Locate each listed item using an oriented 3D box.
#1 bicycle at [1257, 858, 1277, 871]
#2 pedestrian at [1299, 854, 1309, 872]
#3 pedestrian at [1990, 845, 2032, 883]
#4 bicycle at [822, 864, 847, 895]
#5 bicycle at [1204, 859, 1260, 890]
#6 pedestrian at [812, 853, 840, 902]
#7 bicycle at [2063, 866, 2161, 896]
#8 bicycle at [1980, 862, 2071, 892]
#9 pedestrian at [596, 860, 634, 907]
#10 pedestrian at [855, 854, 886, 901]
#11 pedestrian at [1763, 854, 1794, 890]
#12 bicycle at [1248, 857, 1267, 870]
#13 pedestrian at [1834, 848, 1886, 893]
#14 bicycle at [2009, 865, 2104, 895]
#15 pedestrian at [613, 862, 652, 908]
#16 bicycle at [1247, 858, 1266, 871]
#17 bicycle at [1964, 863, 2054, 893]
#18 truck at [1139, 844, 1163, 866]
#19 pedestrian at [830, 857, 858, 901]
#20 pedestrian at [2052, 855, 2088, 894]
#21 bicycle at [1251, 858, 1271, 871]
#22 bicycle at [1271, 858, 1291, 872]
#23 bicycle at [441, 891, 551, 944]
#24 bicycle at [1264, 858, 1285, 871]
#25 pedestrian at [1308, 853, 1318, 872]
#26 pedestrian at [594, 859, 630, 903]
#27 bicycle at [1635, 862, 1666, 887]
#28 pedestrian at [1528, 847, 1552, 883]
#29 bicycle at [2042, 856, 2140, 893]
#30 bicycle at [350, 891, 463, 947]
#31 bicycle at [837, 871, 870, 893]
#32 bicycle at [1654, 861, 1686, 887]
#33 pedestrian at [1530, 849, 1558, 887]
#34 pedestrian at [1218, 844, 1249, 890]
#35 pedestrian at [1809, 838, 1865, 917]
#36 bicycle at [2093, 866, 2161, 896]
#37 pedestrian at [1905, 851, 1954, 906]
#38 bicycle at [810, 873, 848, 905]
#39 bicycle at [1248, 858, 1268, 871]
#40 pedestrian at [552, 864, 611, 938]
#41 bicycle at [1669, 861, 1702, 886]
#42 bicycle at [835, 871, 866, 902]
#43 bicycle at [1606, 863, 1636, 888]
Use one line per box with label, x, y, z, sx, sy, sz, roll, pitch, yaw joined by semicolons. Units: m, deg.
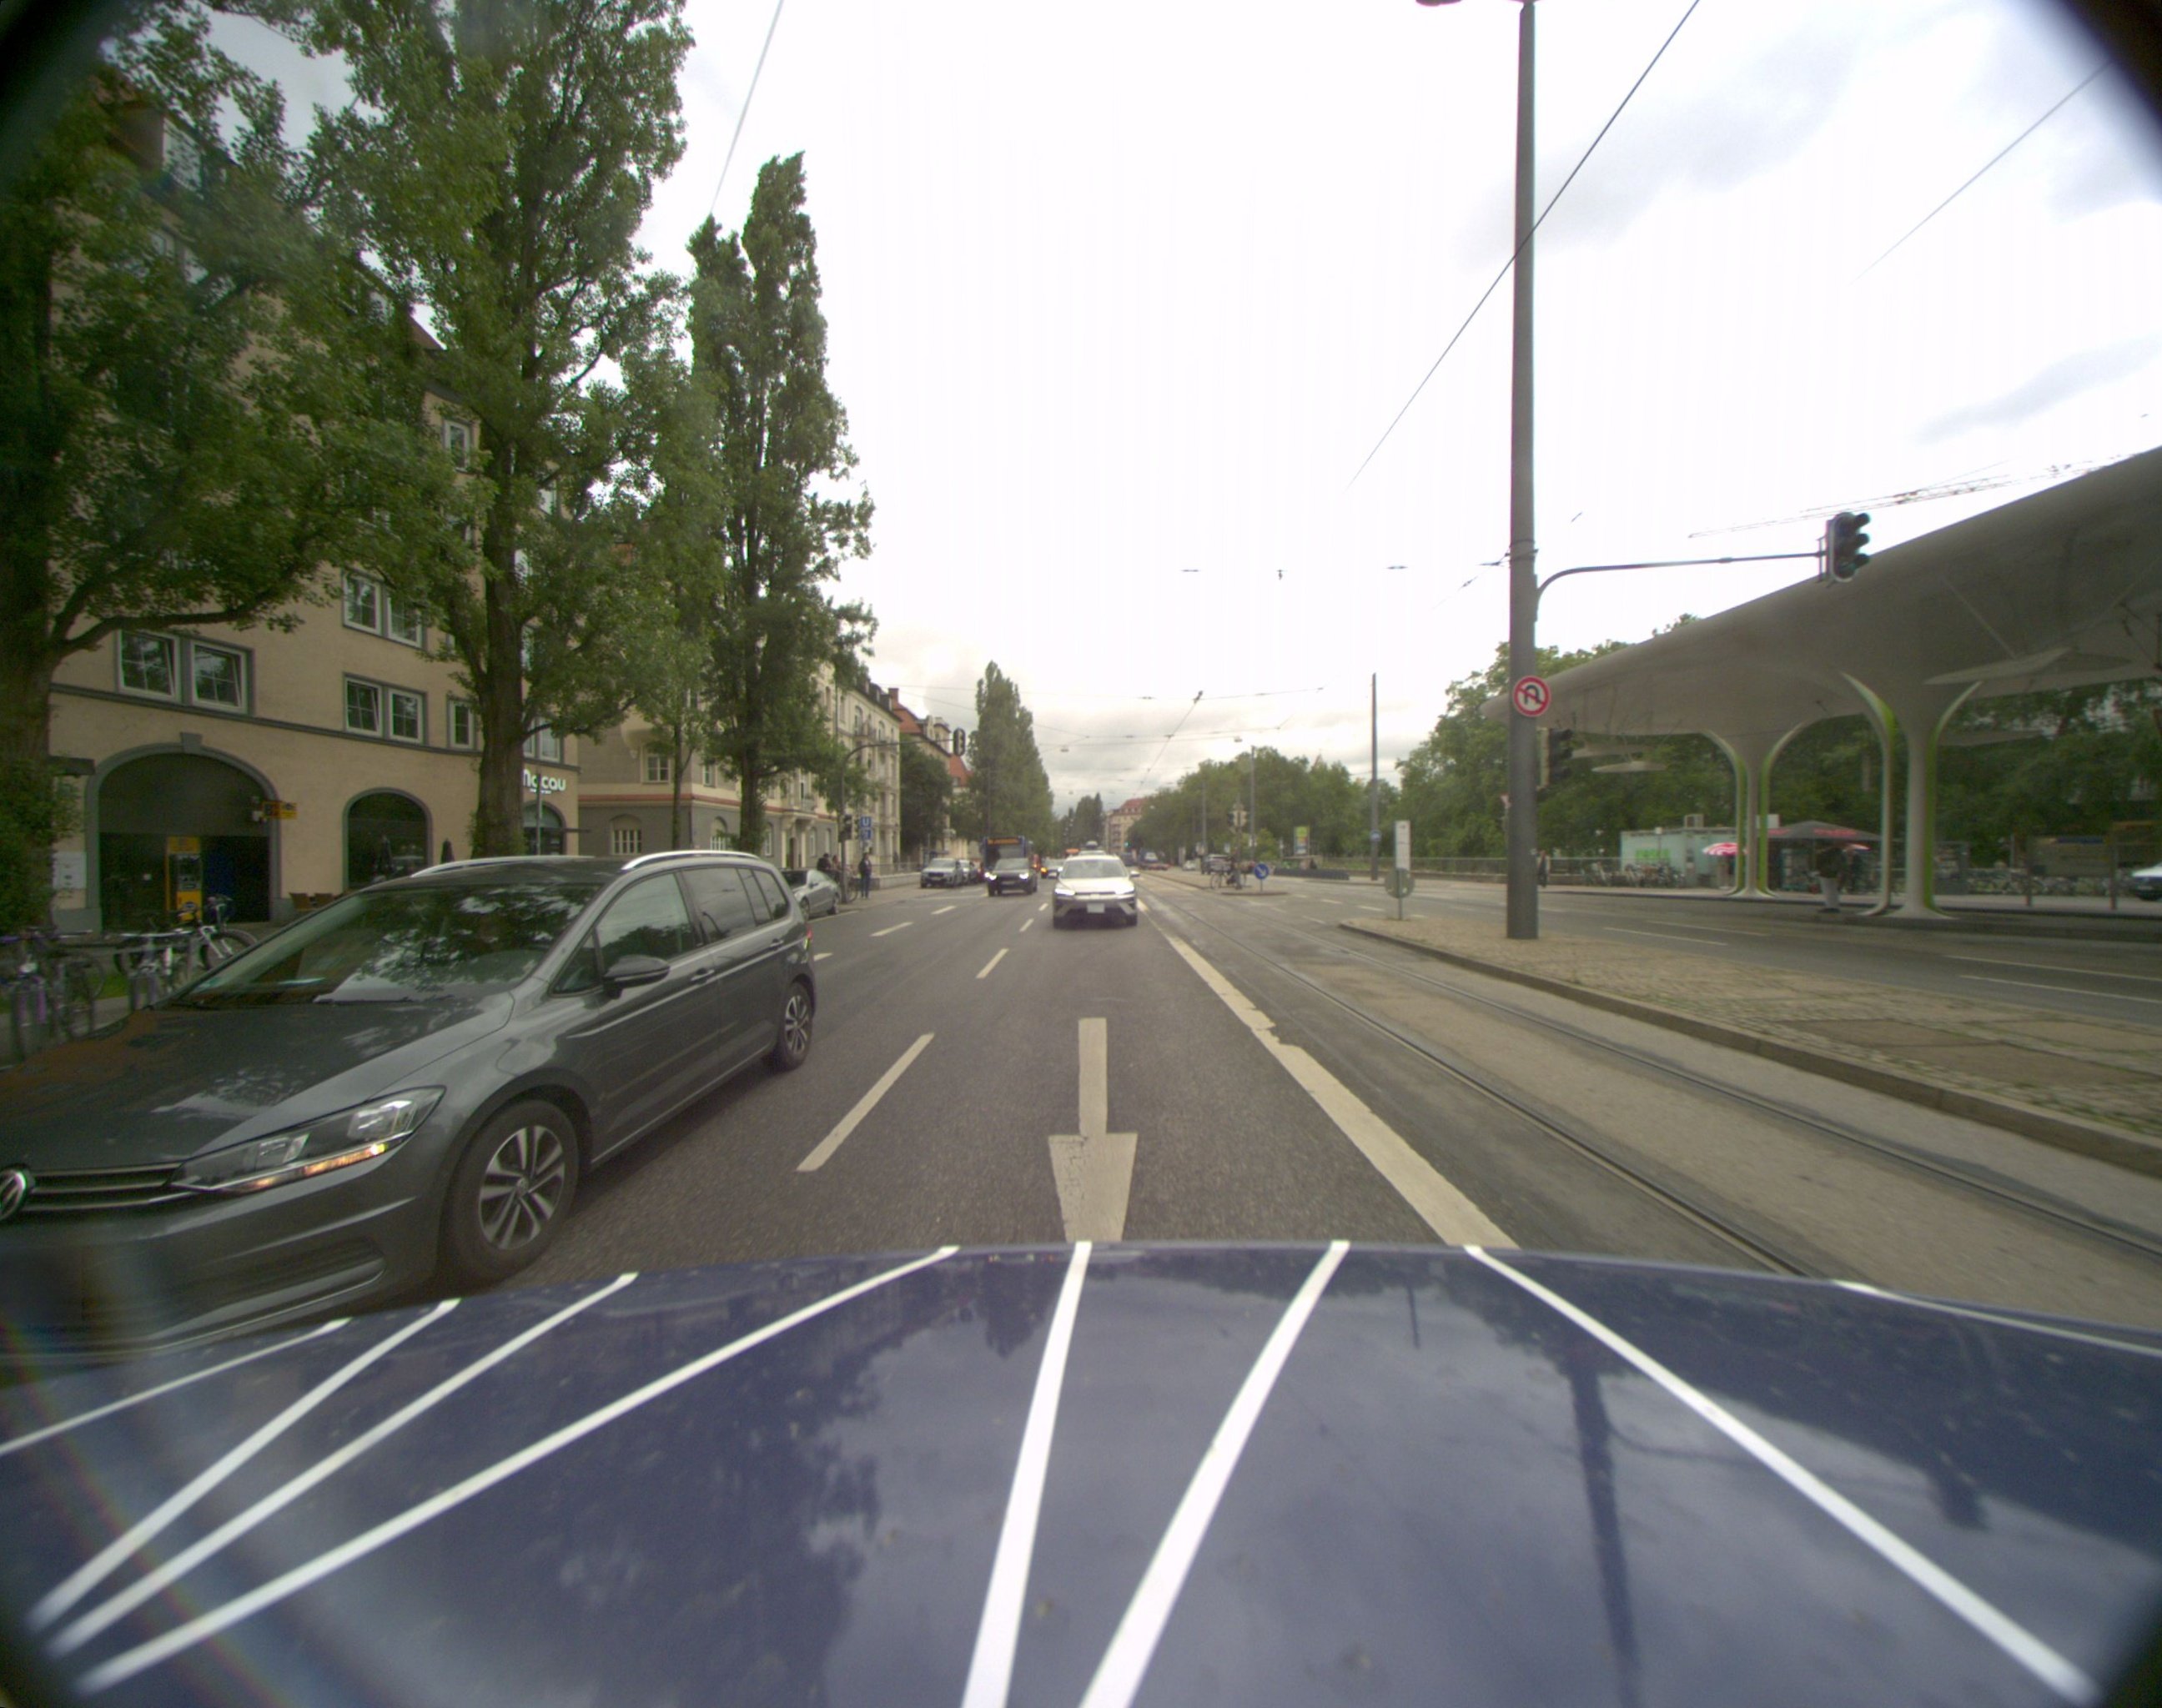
bicycle;16.414;0.914;67.045;1.693;1.165;0.561;-1;0;-9
pedestrian;18.516;0.737;63.031;0.632;1.549;0.589;0;1;0
pedestrian;46.291;0.490;37.834;0.910;1.856;0.981;-1;1;1
bicycle;-10.641;1.068;32.817;0.424;1.280;1.778;-1;0;2
bicycle;6.158;0.831;30.936;2.233;1.144;0.505;-2;1;-17
pedestrian;-9.276;0.855;27.661;0.699;1.770;0.652;-1;0;35
bicycle;41.757;1.076;30.820;0.644;1.123;2.524;0;0;1
bicycle;38.657;0.931;31.168;0.644;1.123;2.524;0;0;1
pedestrian;-17.168;1.063;27.999;0.748;1.675;1.017;0;1;1
pedestrian;-8.153;0.916;29.409;0.881;1.791;0.757;-1;0;11
pedestrian;31.101;0.781;33.872;0.739;1.591;0.798;0;1;16
bicycle;16.422;0.909;70.688;1.692;1.165;0.505;0;0;-3
pedestrian;30.422;0.635;29.686;1.031;1.752;0.957;0;1;2
bicycle;39.748;1.021;31.017;0.644;1.123;2.524;0;0;1
pedestrian;-15.934;1.096;26.983;0.847;1.593;0.824;0;1;18
bicycle;16.023;0.928;69.389;1.693;1.165;0.505;-1;0;-7
bicycle;37.979;0.962;31.159;0.644;1.123;2.524;0;0;1
truck;10.235;0.162;111.472;2.572;3.069;7.690;1;0;-1
pedestrian;-8.812;0.919;28.280;0.758;1.628;0.699;-1;0;-42
pedestrian;40.410;0.836;31.055;0.635;1.573;0.636;0;1;1
bicycle;16.093;0.927;67.871;1.693;1.165;0.505;-1;0;-9
bicycle;16.701;0.906;63.339;1.696;1.165;0.560;-1;0;-29
bicycle;-12.210;1.319;15.890;1.892;1.048;0.458;-1;1;-2
bicycle;16.755;0.900;65.876;1.693;1.165;0.561;-1;0;-9
pedestrian;19.317;0.701;63.201;0.632;1.549;0.589;0;1;0
pedestrian;-18.462;1.041;29.944;0.748;1.704;1.017;0;1;1
bicycle;26.004;0.921;34.712;0.479;1.090;1.851;0;0;15
pedestrian;21.944;0.511;36.308;0.735;1.706;0.861;0;1;11
bicycle;41.076;0.806;30.958;0.635;1.413;2.563;0;0;1
bicycle;-14.083;1.345;15.878;1.892;1.107;0.458;-1;1;-2
bicycle;-11.588;1.400;38.761;0.445;1.017;1.842;-1;1;28
bicycle;26.724;0.889;34.504;0.479;1.090;1.851;0;0;15
pedestrian;20.022;0.607;32.844;0.739;1.619;0.741;-1;1;-20
pedestrian;6.186;0.519;30.820;0.862;1.801;0.896;-2;1;-20
pedestrian;18.118;0.541;18.209;0.667;1.828;0.808;-1;1;-31
bicycle;42.646;1.059;30.529;0.644;1.123;2.524;-1;0;1
pedestrian;25.591;0.728;22.919;0.749;1.600;0.837;-1;1;-29
bicycle;-9.159;1.253;27.560;1.740;1.096;0.360;0;1;36
bicycle;16.048;0.928;68.804;1.693;1.165;0.561;-1;0;-9
pedestrian;-10.957;1.016;16.681;0.761;1.553;0.763;-1;0;2
bicycle;27.275;0.865;34.309;0.479;1.090;1.851;0;0;15
bicycle;-8.591;1.204;28.297;0.360;1.096;1.740;-1;1;-43
bicycle;24.793;0.976;34.926;0.479;1.090;1.851;0;0;15
